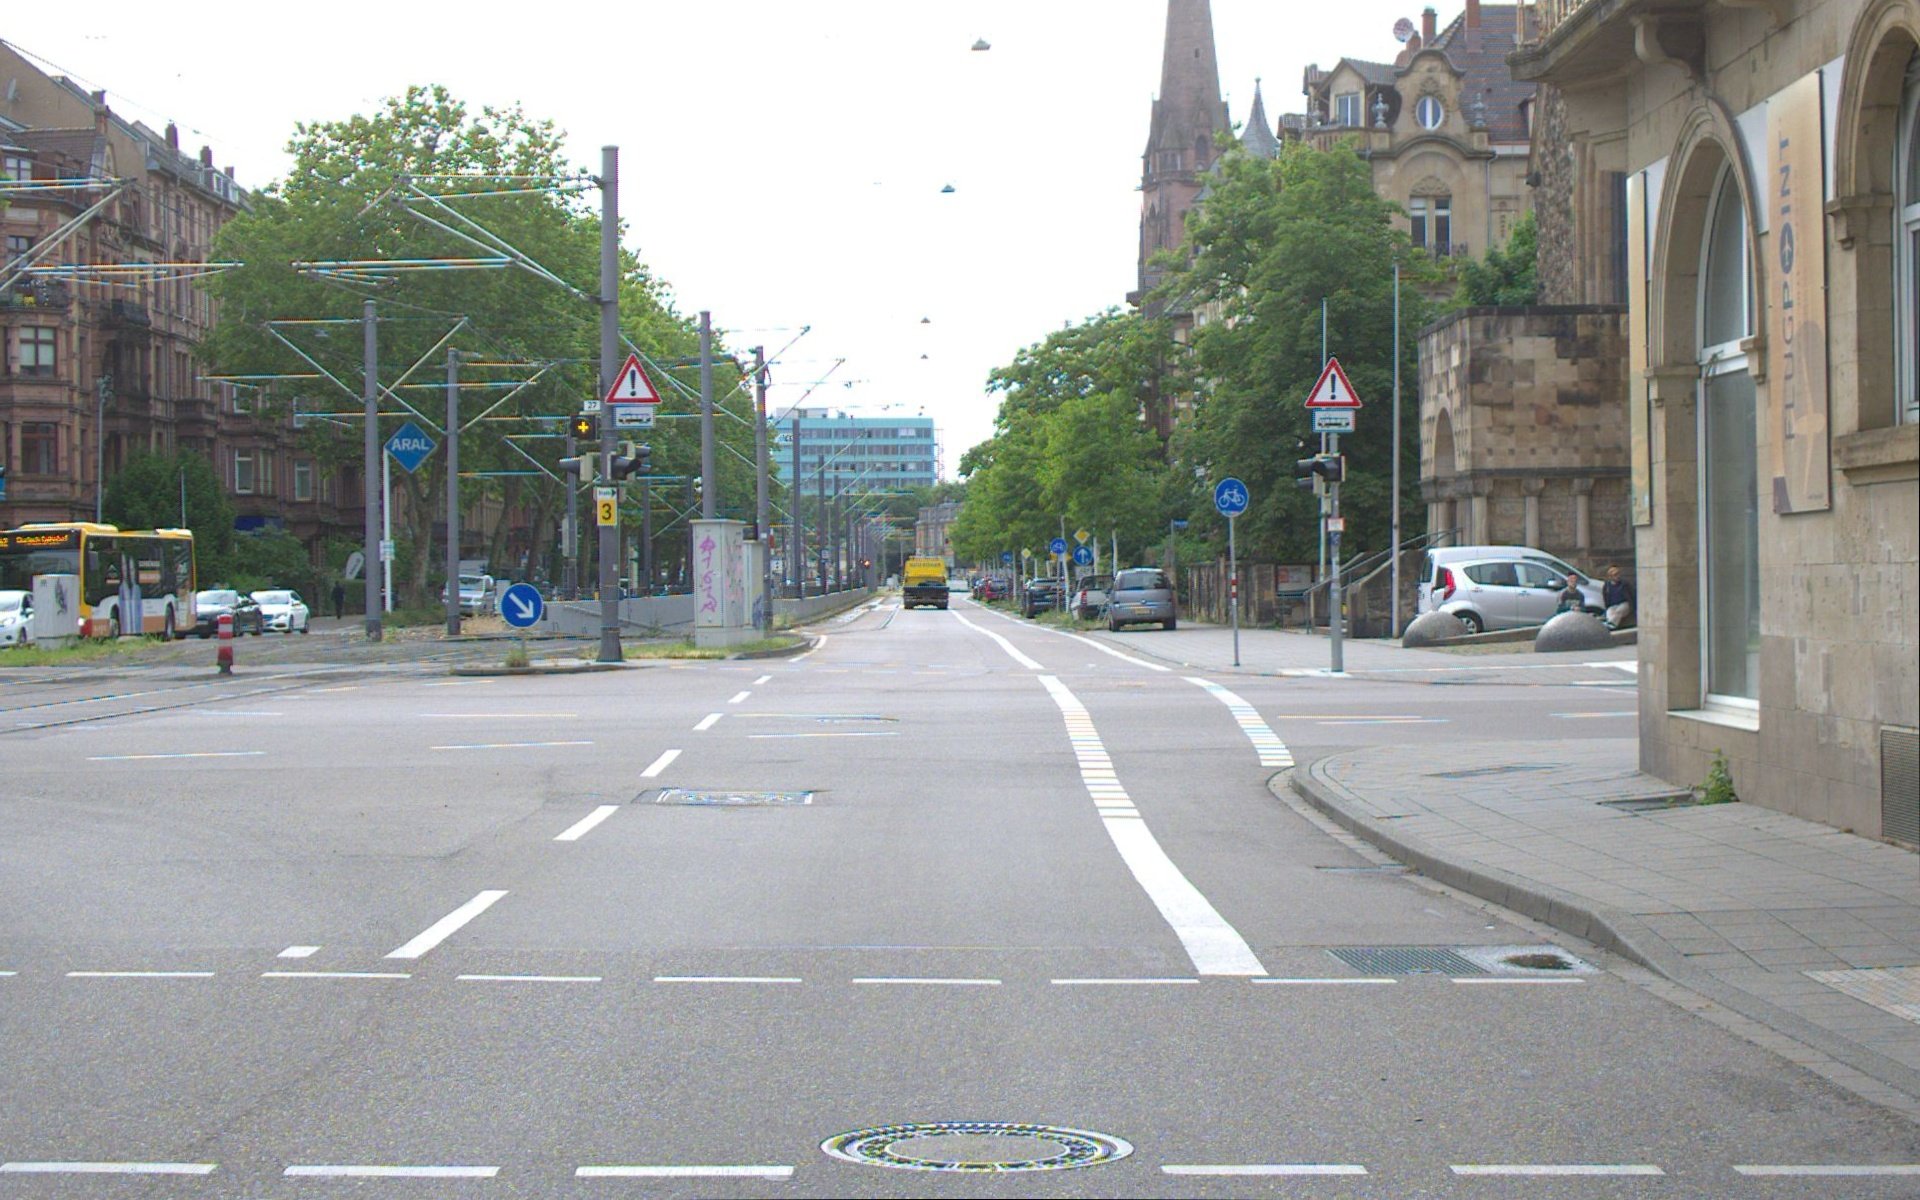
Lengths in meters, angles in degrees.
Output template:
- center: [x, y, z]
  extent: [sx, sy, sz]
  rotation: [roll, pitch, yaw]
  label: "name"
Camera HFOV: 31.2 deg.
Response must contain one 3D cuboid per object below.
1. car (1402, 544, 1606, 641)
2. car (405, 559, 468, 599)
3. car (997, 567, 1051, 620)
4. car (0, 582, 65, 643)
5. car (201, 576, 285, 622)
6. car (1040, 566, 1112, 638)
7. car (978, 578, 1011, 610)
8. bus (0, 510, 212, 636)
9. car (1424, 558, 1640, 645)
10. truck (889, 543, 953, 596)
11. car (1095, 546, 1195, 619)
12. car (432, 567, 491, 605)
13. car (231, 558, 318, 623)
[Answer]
- center: [10.790, -0.159, 68.415]
  extent: [3.713, 1.849, 2.000]
  rotation: [1, 0, 0]
  label: "car"
- center: [-21.544, -0.865, 141.529]
  extent: [1.993, 1.605, 4.000]
  rotation: [1, 1, -1]
  label: "car"
- center: [2.532, -0.269, 135.999]
  extent: [1.993, 2.007, 4.000]
  rotation: [1, 1, -1]
  label: "car"
- center: [-21.914, 0.269, 79.054]
  extent: [1.656, 1.316, 3.638]
  rotation: [1, 1, 1]
  label: "car"
- center: [-21.305, -0.038, 102.223]
  extent: [1.656, 1.316, 3.638]
  rotation: [1, 1, 1]
  label: "car"
- center: [3.337, 0.038, 99.532]
  extent: [1.993, 2.007, 4.000]
  rotation: [1, 1, 1]
  label: "car"
- center: [2.184, -0.391, 216.847]
  extent: [1.993, 2.007, 4.000]
  rotation: [1, 1, -1]
  label: "car"
- center: [-22.482, -0.720, 89.103]
  extent: [3.231, 3.025, 12.311]
  rotation: [1, 1, 1]
  label: "bus"
- center: [10.762, 0.018, 64.892]
  extent: [3.713, 1.558, 2.000]
  rotation: [1, 0, 0]
  label: "car"
- center: [-2.073, -1.673, 184.822]
  extent: [3.055, 2.760, 9.815]
  rotation: [0, 1, 1]
  label: "truck"
- center: [4.864, -0.468, 89.995]
  extent: [1.994, 1.849, 4.024]
  rotation: [1, 1, 12]
  label: "car"
- center: [-21.635, -0.625, 149.346]
  extent: [1.993, 1.605, 4.000]
  rotation: [1, 1, -1]
  label: "car"
- center: [-21.843, -0.309, 109.611]
  extent: [1.993, 2.007, 4.000]
  rotation: [1, 1, -1]
  label: "car"
